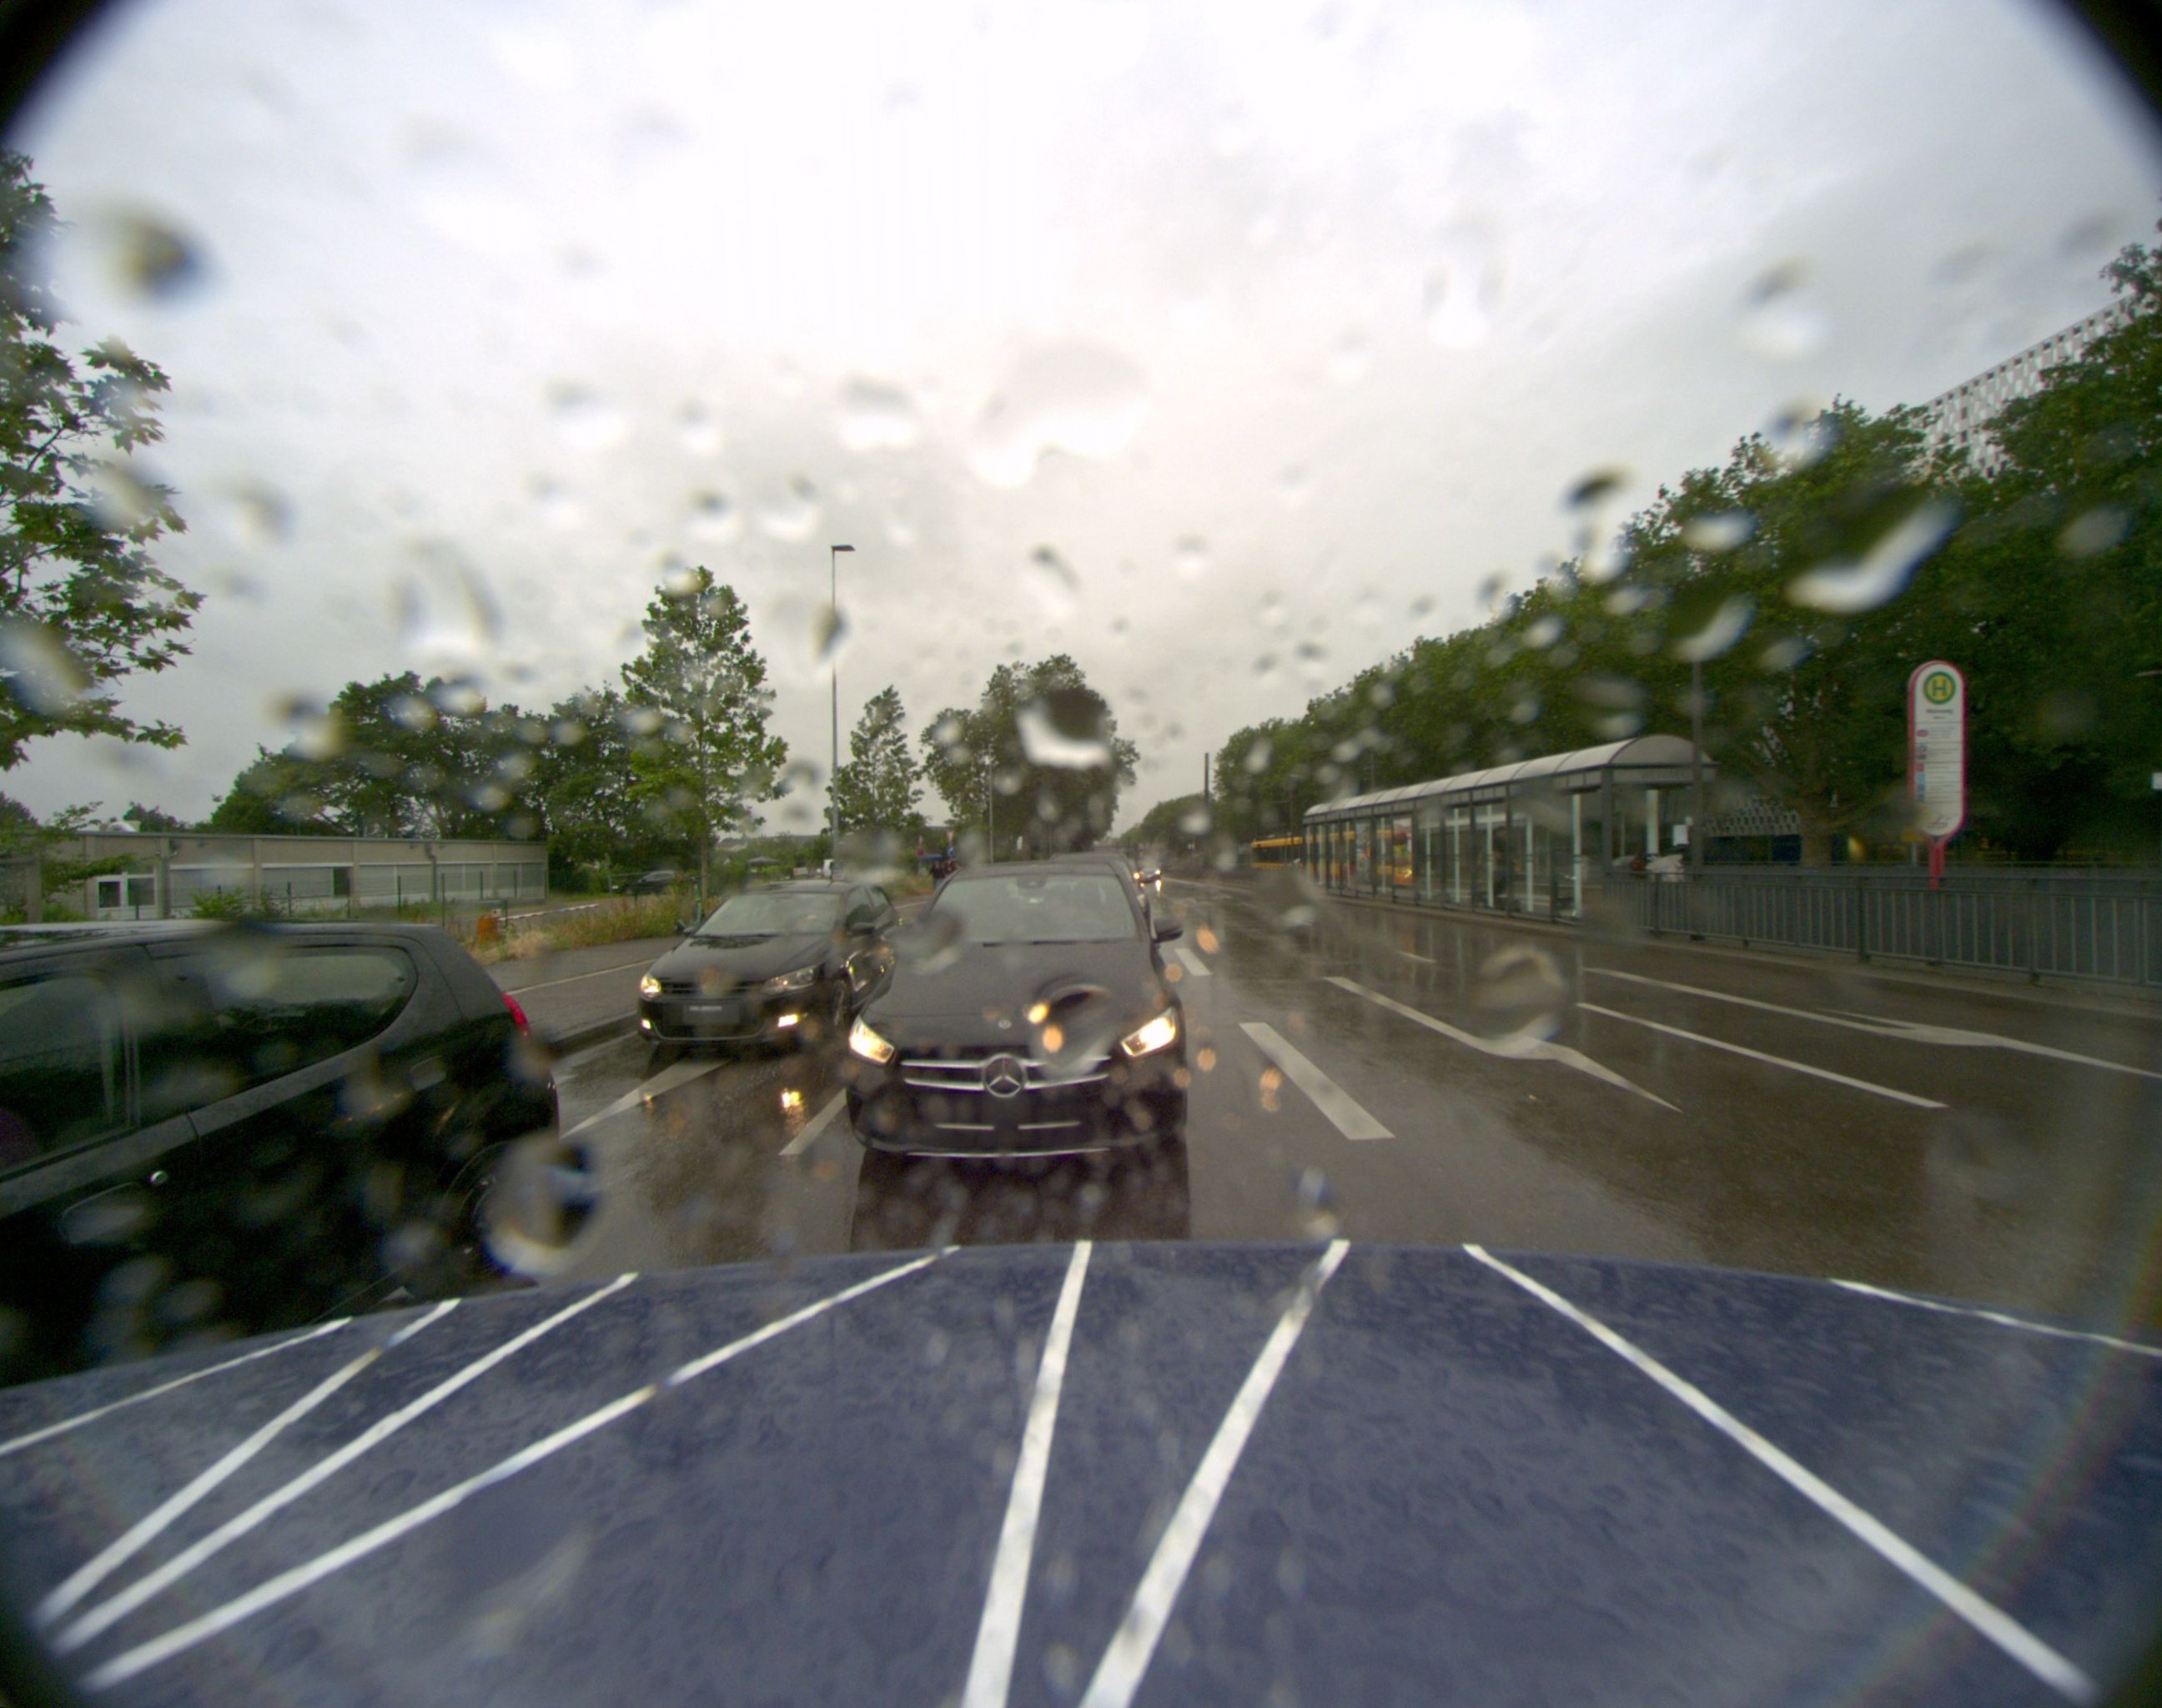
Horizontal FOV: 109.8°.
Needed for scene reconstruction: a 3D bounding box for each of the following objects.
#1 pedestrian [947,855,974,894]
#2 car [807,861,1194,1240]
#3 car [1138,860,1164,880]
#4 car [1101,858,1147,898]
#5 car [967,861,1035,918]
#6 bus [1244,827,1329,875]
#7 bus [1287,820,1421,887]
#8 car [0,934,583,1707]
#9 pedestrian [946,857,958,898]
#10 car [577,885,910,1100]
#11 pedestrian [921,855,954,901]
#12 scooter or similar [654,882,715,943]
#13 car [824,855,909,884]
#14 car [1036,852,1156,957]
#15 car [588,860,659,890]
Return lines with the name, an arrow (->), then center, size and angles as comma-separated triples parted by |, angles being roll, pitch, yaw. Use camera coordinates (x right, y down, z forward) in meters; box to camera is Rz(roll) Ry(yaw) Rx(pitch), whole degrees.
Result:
pedestrian -> -5.448, 0.906, 34.397 | 1.025, 1.698, 0.891 | 1, 1, 0
car -> -0.333, 0.917, 5.520 | 1.690, 1.578, 4.163 | -2, 1, 1
car -> 5.549, 1.272, 60.779 | 1.766, 1.390, 4.645 | -2, 0, 2
car -> 1.925, 1.040, 34.913 | 1.794, 1.597, 3.999 | -2, 1, 0
car -> -2.540, 1.092, 24.939 | 1.698, 1.565, 3.813 | -2, 1, 1
bus -> 16.230, -0.309, 61.586 | 2.938, 3.310, 15.062 | -2, 1, 1
bus -> 16.020, -0.106, 46.405 | 2.938, 3.310, 15.062 | -2, 1, 1
car -> -2.982, 1.077, 1.452 | 1.633, 1.420, 3.624 | -2, 0, 0
pedestrian -> -5.278, 0.950, 31.112 | 0.401, 1.652, 0.441 | 1, 1, 0
car -> -2.935, 1.111, 7.508 | 1.633, 1.420, 3.624 | -2, 0, 0
pedestrian -> -5.500, 0.911, 29.156 | 1.082, 1.746, 0.969 | 0, 1, 0
scooter or similar -> -8.210, 1.182, 15.804 | 0.381, 1.123, 1.777 | 0, 1, -1
car -> -13.500, 0.962, 48.126 | 4.759, 1.640, 1.999 | -2, 1, -2
car -> 0.204, 0.722, 12.540 | 1.633, 1.420, 3.624 | -2, 0, 0
car -> -33.961, 1.517, 56.516 | 3.996, 2.002, 2.000 | -2, 1, 2
